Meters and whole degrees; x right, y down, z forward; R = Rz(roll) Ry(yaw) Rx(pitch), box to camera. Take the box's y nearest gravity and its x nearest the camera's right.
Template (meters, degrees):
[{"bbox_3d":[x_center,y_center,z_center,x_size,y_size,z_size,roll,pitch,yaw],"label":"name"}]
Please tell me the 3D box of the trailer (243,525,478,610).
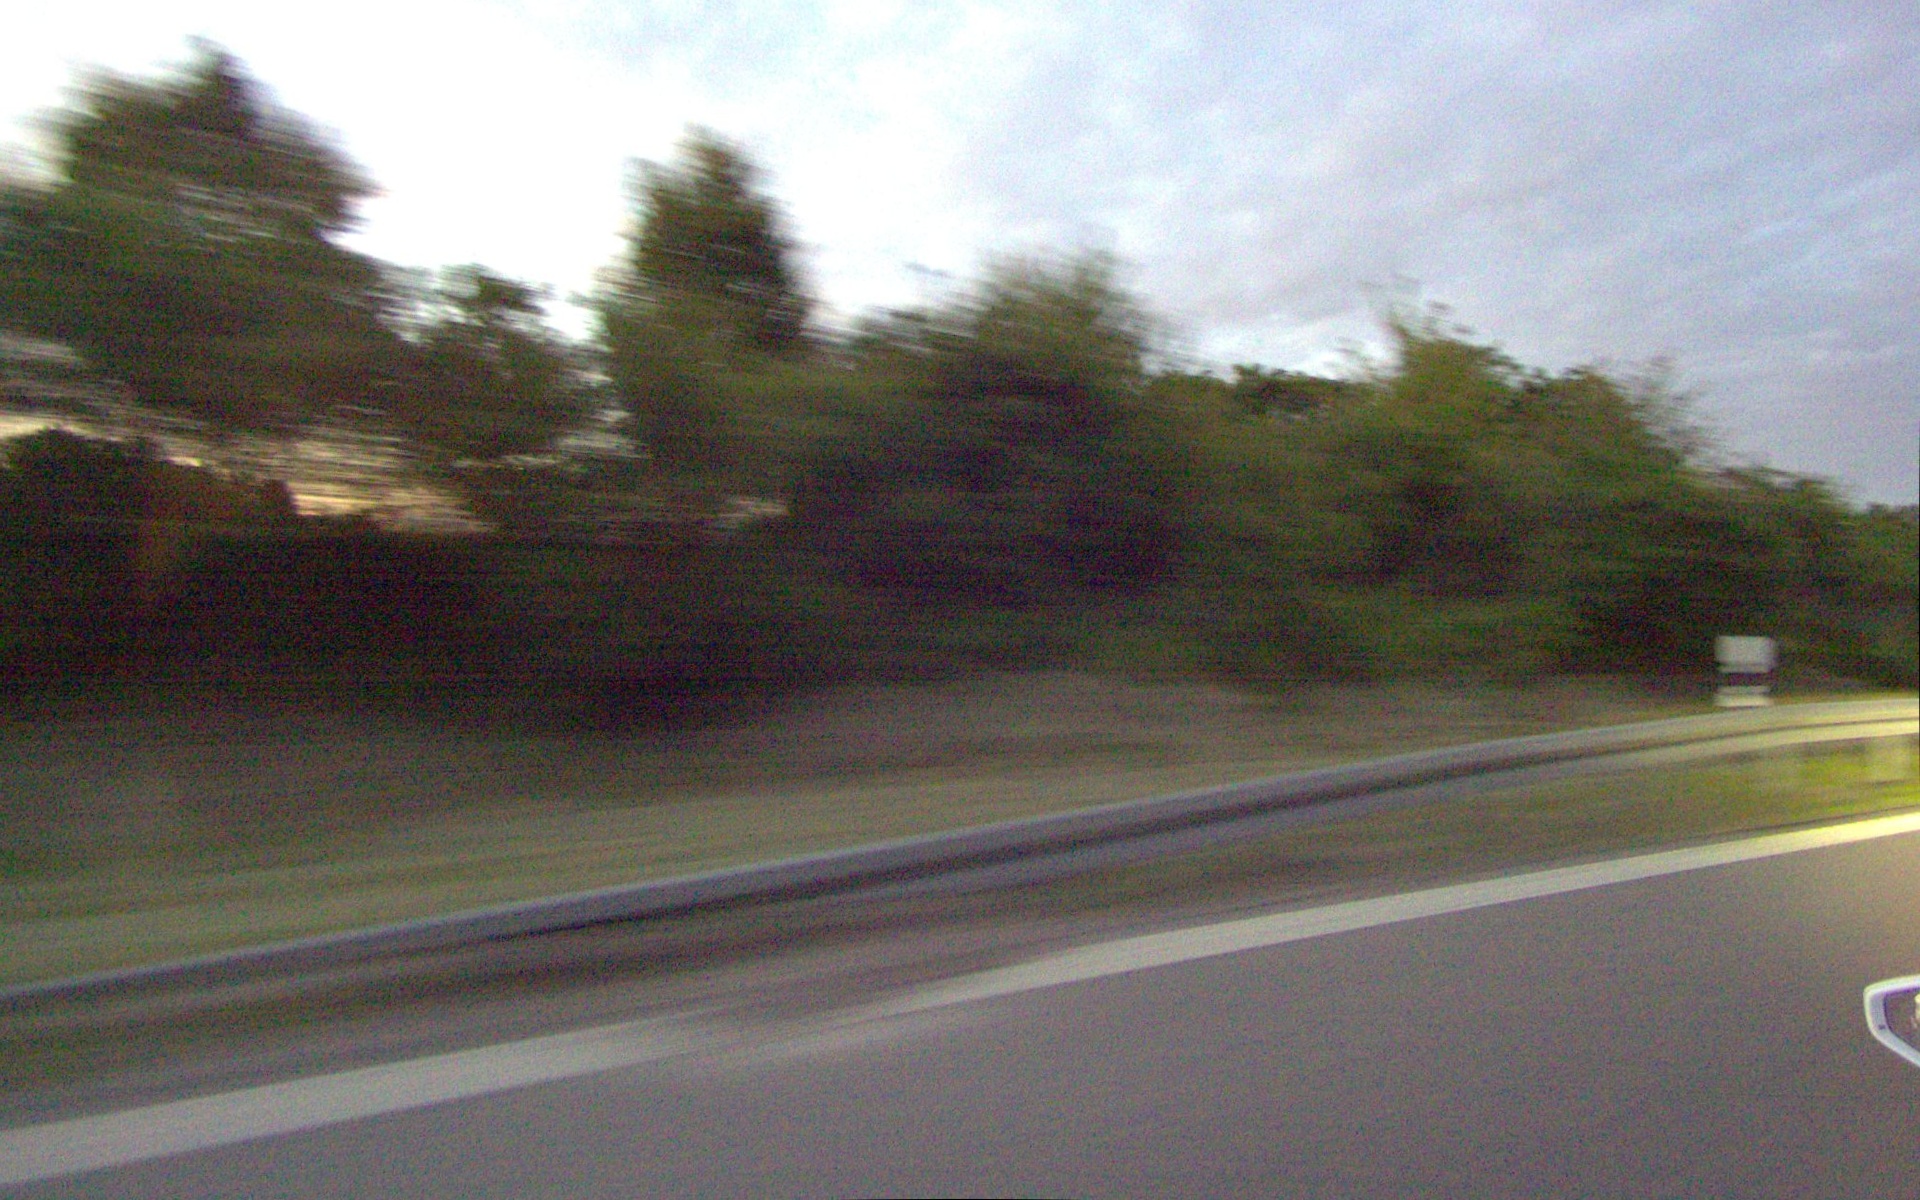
[{"bbox_3d":[-32.456,-1.566,55.793,2.727,3.967,14.826,-3,0,6],"label":"trailer"}]
